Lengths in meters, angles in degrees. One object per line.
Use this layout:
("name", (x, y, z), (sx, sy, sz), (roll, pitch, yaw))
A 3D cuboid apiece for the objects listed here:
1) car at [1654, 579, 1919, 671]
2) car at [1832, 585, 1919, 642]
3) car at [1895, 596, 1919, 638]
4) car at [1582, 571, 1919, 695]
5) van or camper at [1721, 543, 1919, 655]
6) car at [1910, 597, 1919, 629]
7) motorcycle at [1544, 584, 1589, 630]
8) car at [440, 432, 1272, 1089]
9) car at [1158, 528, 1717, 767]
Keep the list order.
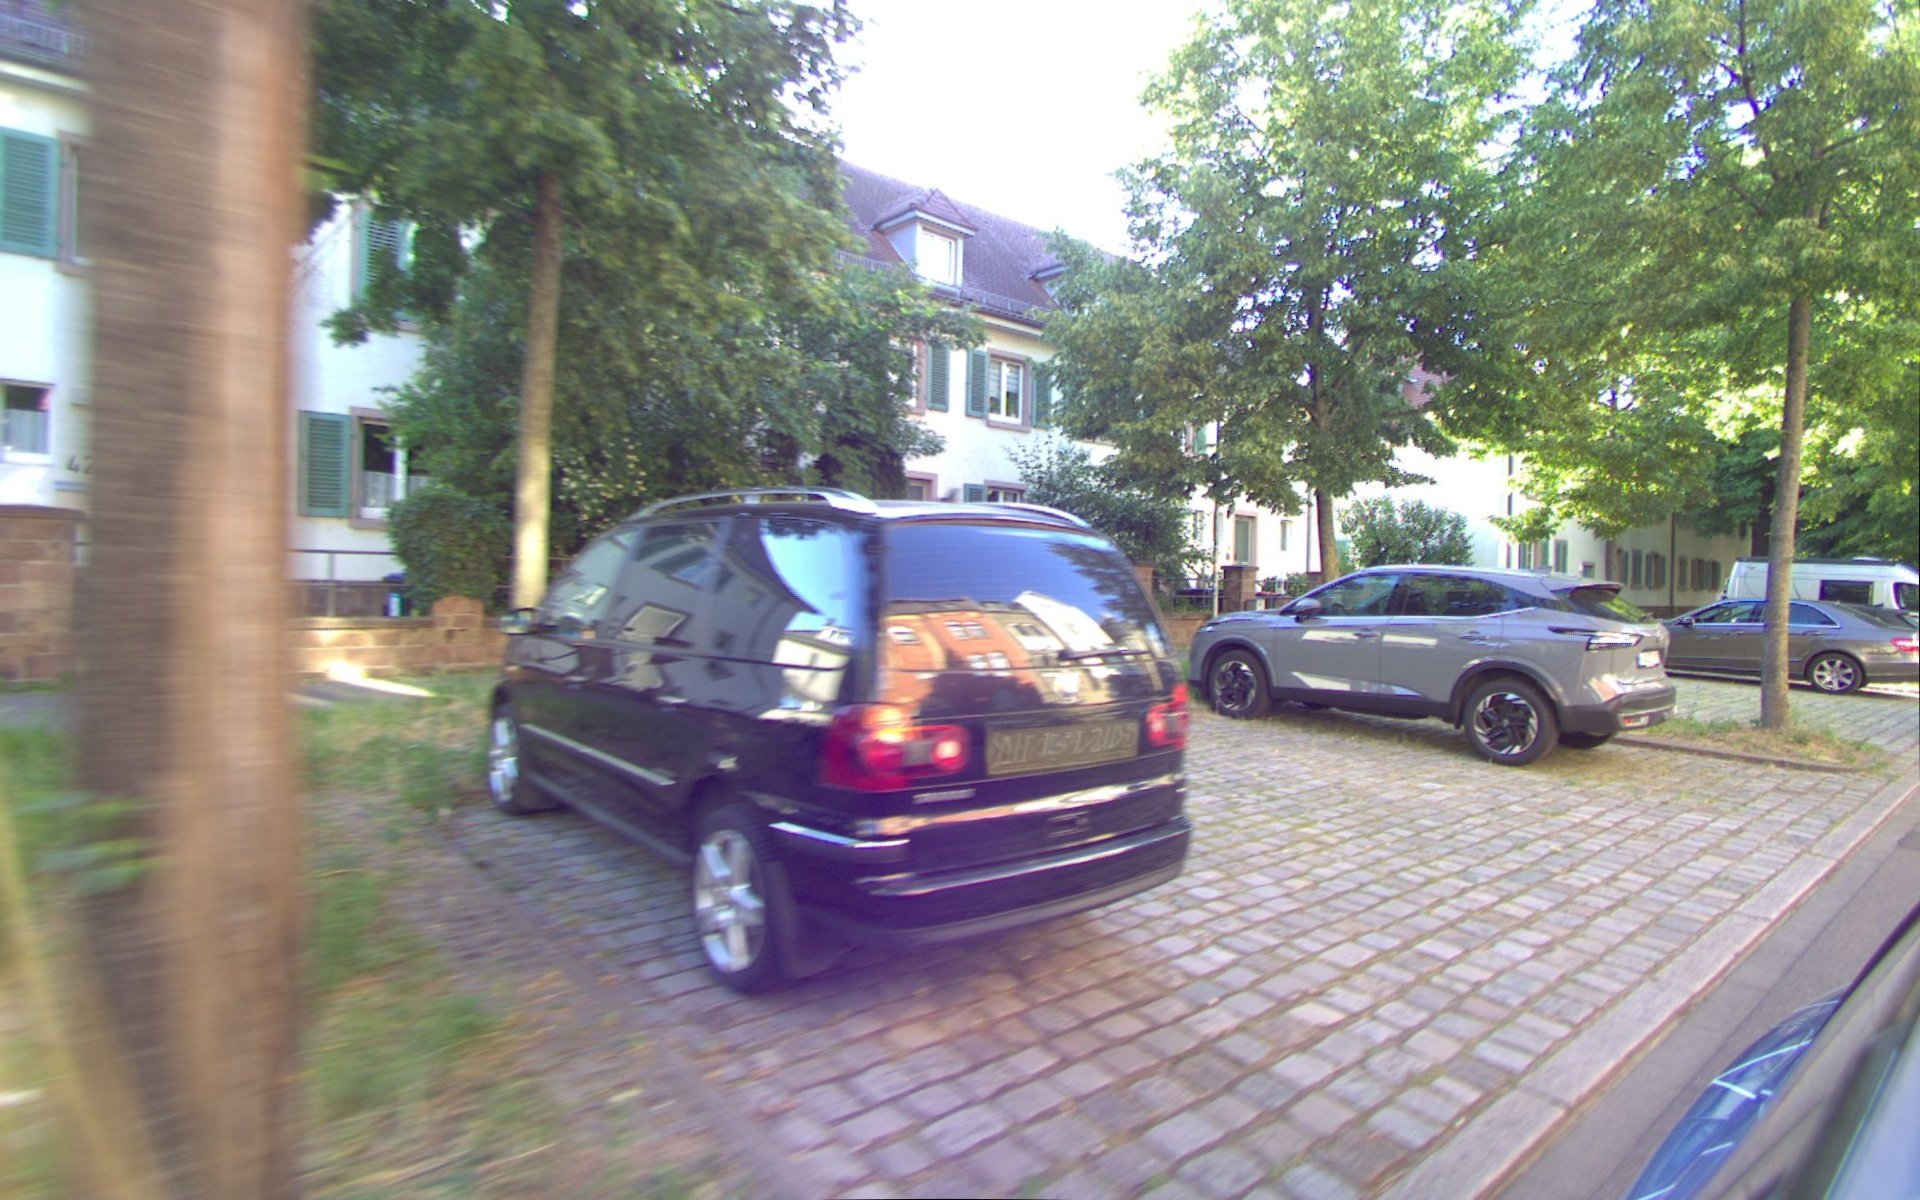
("car", (17.481, 0.445, 21.176), (1.795, 1.453, 4.488), (1, 4, -40))
("car", (32.410, 0.522, 33.891), (1.966, 1.736, 4.603), (1, 3, -42))
("car", (38.124, 0.729, 38.167), (1.528, 1.571, 3.996), (1, 2, -40))
("car", (13.518, 0.454, 16.988), (1.862, 1.557, 4.848), (0, 5, -42))
("van or camper", (23.324, -0.031, 25.881), (2.124, 2.546, 5.734), (1, 4, -40))
("car", (48.852, 0.721, 49.040), (1.546, 1.531, 3.992), (1, 2, -43))
("motorcycle", (19.510, 0.203, 32.539), (1.981, 1.424, 0.660), (-1, 0, -41))
("car", (-1.034, 0.237, 4.985), (1.872, 1.697, 4.596), (1, 4, -38))
("car", (4.328, 0.239, 9.836), (1.842, 1.653, 4.487), (0, 4, -41))
